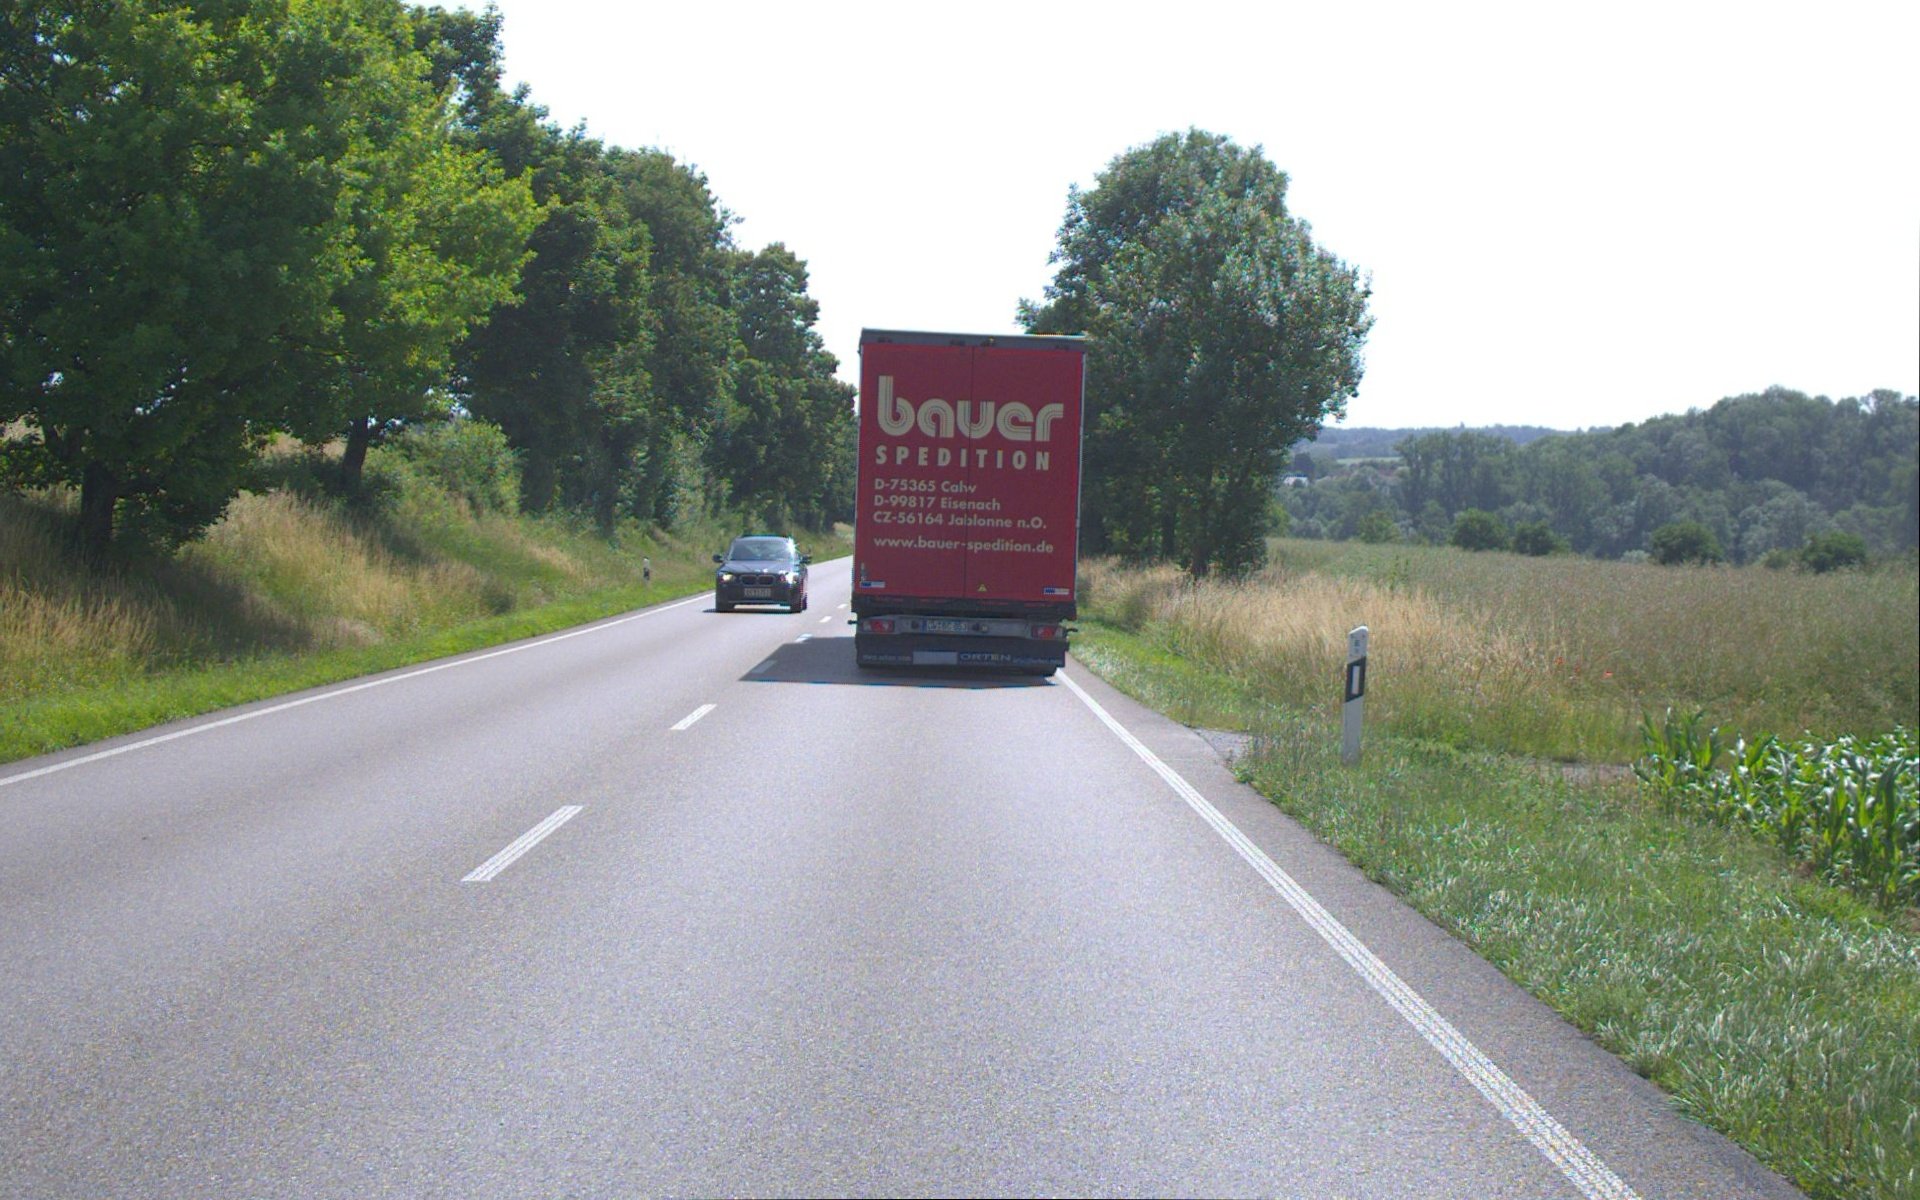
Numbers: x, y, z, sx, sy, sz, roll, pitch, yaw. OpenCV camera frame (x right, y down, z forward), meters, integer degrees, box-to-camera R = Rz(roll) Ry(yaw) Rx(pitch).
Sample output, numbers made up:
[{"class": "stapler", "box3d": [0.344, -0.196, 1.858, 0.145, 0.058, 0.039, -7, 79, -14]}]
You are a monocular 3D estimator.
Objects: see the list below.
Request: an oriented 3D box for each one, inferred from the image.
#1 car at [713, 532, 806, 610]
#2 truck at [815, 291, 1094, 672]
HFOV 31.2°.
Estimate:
[{"class": "car", "box3d": [-4.105, -0.607, 70.825, 1.656, 1.529, 4.358, 1, 1, 0]}, {"class": "truck", "box3d": [-0.075, -1.350, 42.570, 3.094, 4.248, 8.314, 0, 0, 0]}]
